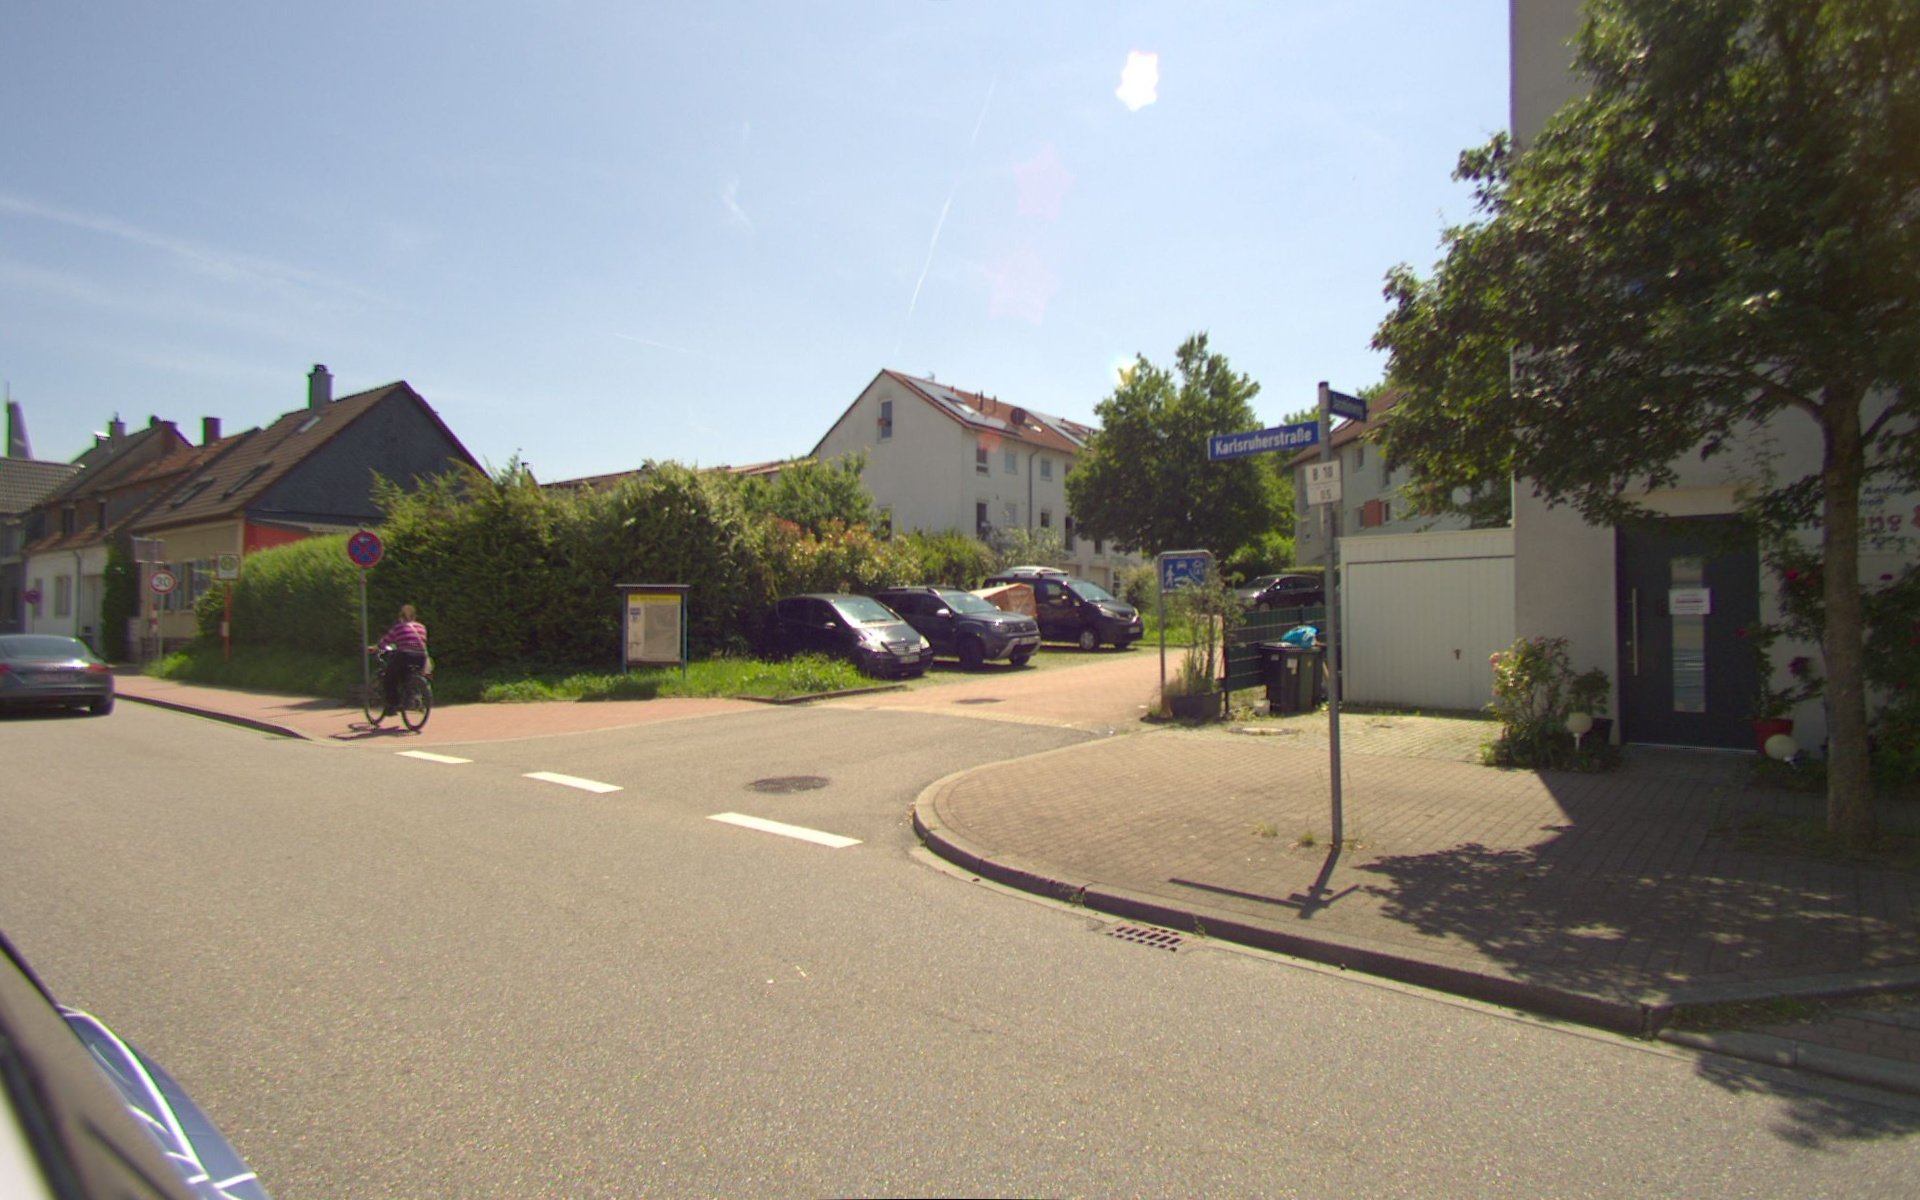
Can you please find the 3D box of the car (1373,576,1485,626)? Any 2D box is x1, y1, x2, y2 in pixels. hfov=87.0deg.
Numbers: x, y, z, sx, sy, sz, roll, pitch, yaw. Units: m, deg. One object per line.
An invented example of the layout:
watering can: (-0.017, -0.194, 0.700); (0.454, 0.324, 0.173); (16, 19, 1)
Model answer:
car: (14.849, 0.010, 31.939); (3.937, 1.439, 1.695); (-2, 0, -41)

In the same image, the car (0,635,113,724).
car: (-15.973, 1.296, 17.272); (3.867, 1.381, 1.688); (-2, -4, 41)

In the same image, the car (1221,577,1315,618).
car: (11.593, -0.114, 38.018); (3.580, 1.463, 1.595); (-1, -1, -39)

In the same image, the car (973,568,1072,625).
car: (2.085, -0.135, 32.932); (1.419, 1.747, 3.594); (-1, 1, 38)

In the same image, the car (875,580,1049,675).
car: (-0.009, 0.546, 21.387); (3.511, 1.793, 1.605); (-1, 1, 44)

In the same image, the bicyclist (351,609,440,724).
bicyclist: (-7.788, 0.899, 13.961); (0.905, 1.505, 0.654); (-2, 1, 28)

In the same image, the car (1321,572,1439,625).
car: (14.127, -0.094, 34.010); (3.933, 1.635, 1.754); (-2, 1, -33)

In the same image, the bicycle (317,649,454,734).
bicycle: (-8.007, 1.244, 14.086); (2.017, 1.064, 0.667); (-1, 1, 29)

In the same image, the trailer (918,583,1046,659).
trailer: (0.511, 0.494, 24.212); (2.688, 1.676, 1.413); (-2, 2, 37)

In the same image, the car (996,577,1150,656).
car: (2.771, 0.395, 25.316); (3.552, 1.794, 1.605); (-1, 1, 44)

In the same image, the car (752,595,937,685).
car: (-2.316, 0.727, 19.775); (3.653, 1.552, 1.605); (-1, 1, 44)
